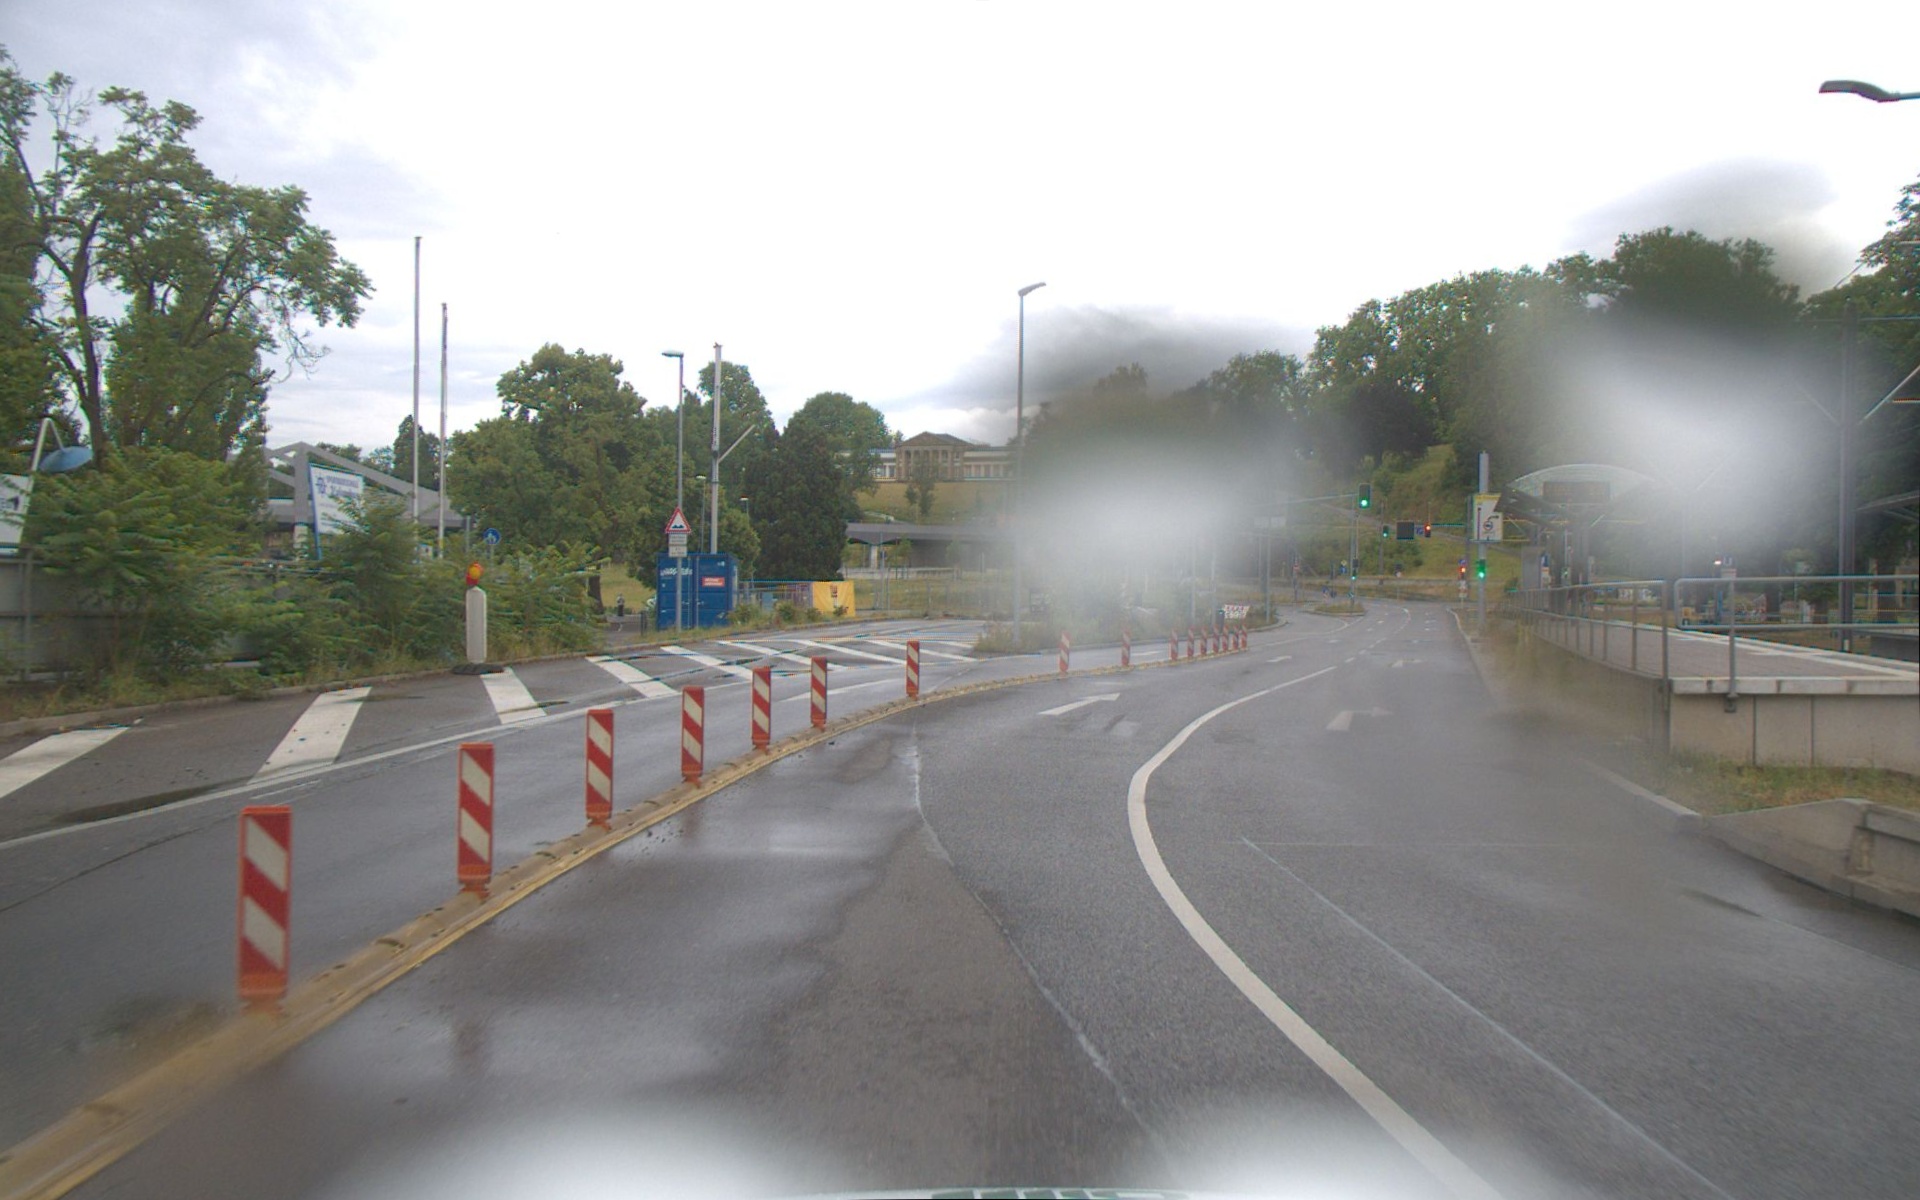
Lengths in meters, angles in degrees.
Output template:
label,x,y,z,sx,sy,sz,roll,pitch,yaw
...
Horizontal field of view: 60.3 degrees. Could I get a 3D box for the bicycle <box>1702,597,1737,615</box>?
label,x,y,z,sx,sy,sz,roll,pitch,yaw
bicycle,44.968,0.331,97.973,1.772,1.050,0.653,0,0,15

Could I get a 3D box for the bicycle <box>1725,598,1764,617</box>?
label,x,y,z,sx,sy,sz,roll,pitch,yaw
bicycle,43.442,0.410,91.601,1.807,1.050,0.653,0,0,15

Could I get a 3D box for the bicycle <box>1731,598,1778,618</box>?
label,x,y,z,sx,sy,sz,roll,pitch,yaw
bicycle,42.788,0.444,89.045,2.175,1.050,0.690,0,0,15

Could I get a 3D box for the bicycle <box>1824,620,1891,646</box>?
label,x,y,z,sx,sy,sz,roll,pitch,yaw
bicycle,35.491,1.308,65.431,2.272,0.974,0.570,0,0,16

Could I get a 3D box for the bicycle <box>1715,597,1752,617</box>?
label,x,y,z,sx,sy,sz,roll,pitch,yaw
bicycle,43.250,0.393,92.505,1.772,1.050,0.653,0,0,15

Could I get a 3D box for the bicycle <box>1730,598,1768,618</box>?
label,x,y,z,sx,sy,sz,roll,pitch,yaw
bicycle,43.293,0.429,90.781,1.772,1.050,0.653,0,0,15
